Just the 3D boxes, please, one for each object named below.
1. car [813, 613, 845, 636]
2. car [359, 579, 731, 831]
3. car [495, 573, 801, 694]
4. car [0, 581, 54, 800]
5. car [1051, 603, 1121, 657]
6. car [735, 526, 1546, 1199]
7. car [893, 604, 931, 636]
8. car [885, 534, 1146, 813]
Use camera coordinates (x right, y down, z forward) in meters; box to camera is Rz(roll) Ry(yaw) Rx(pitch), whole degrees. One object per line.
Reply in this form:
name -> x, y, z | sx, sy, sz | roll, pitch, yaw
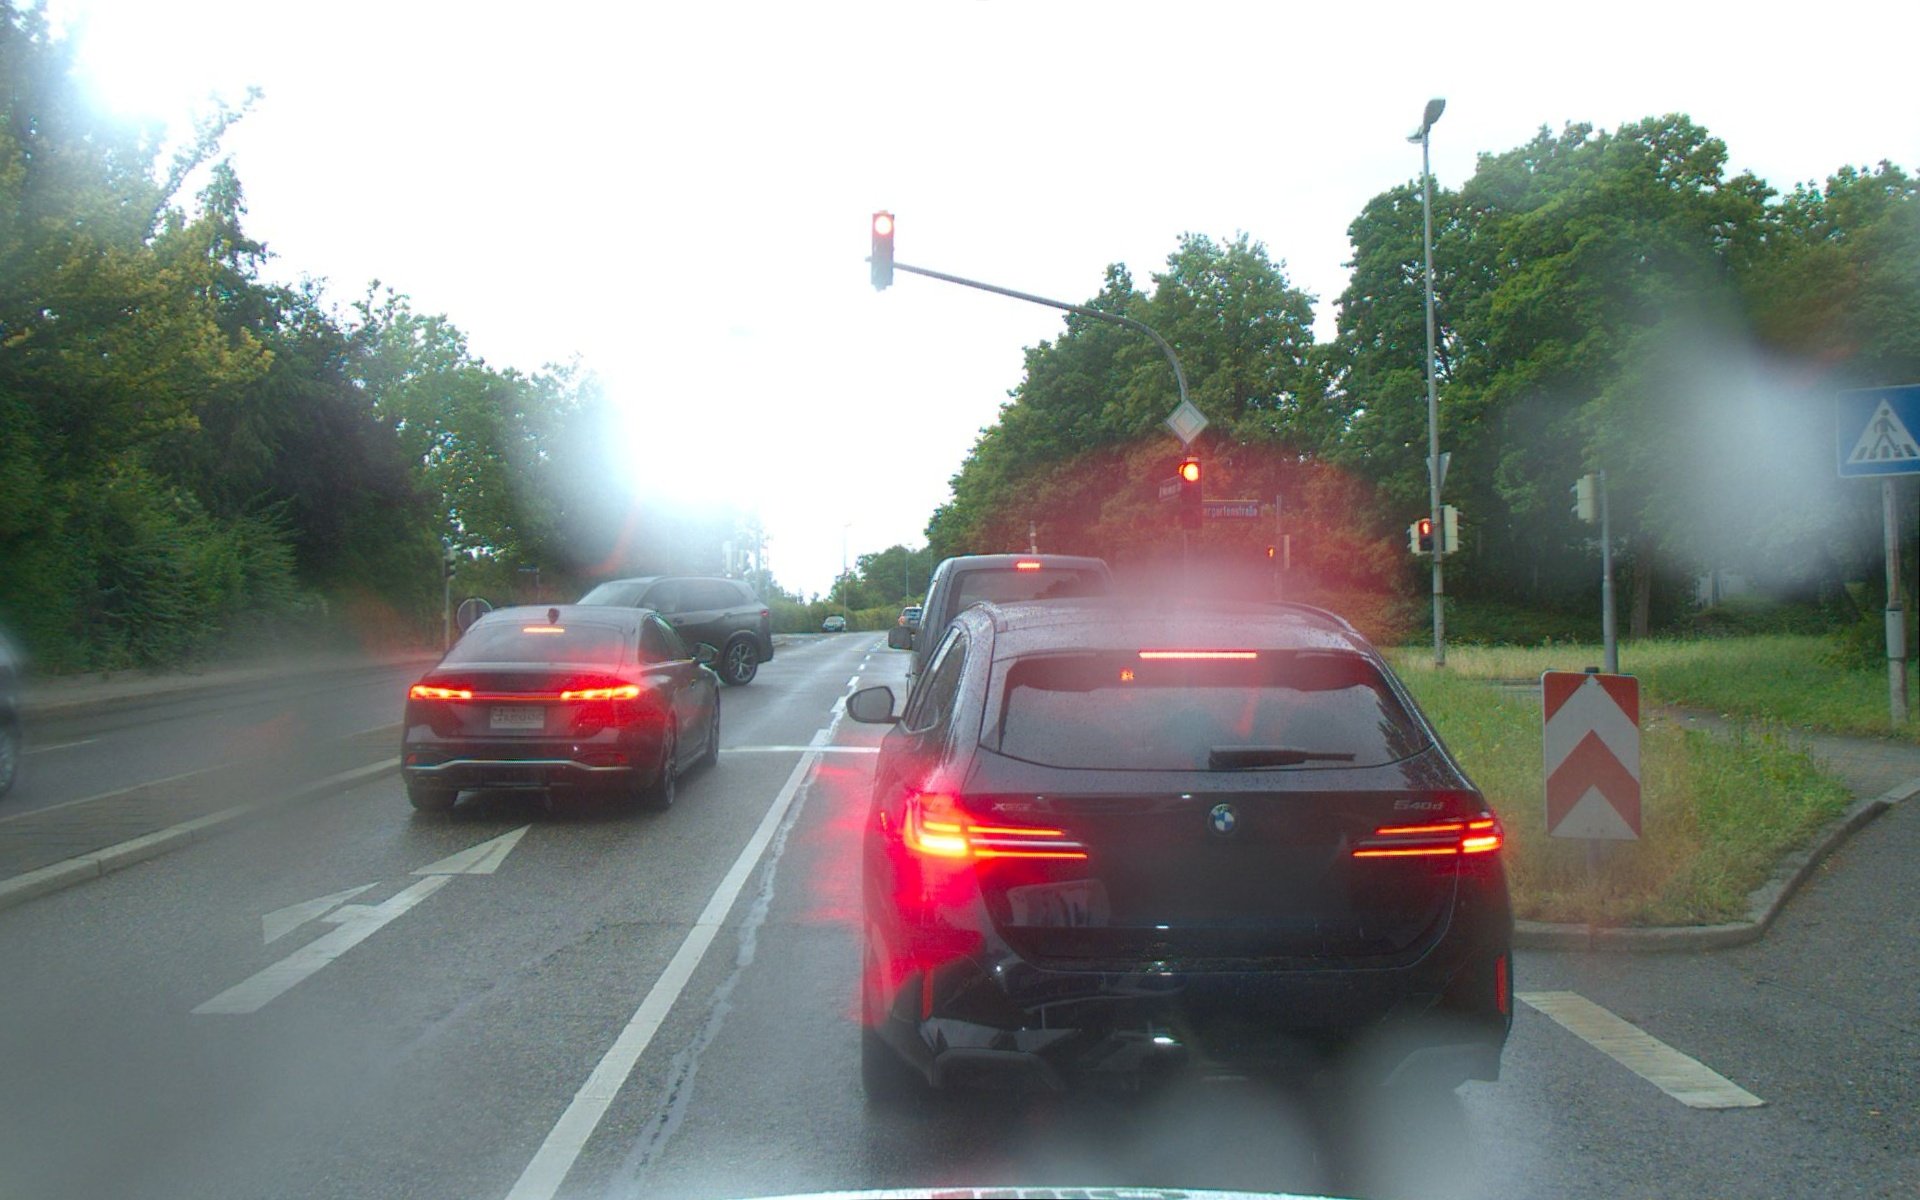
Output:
car -> -11.088, 2.101, 140.593 | 1.951, 1.858, 4.002 | -2, -1, 6
car -> -2.993, 0.696, 12.929 | 1.954, 1.554, 4.325 | -2, 0, -3
car -> -4.927, 0.482, 26.695 | 1.963, 1.747, 4.694 | -2, 0, 39
car -> -7.945, 0.703, 11.000 | 1.708, 1.630, 4.030 | -2, 0, -3
car -> 3.964, 0.924, 52.448 | 1.835, 1.569, 3.952 | -2, 0, 0
car -> 0.522, 0.665, 6.131 | 1.858, 1.578, 4.616 | 1, -1, 3
car -> -2.308, 0.976, 80.151 | 1.663, 1.452, 3.513 | -2, 0, 0
car -> 0.373, 0.518, 13.332 | 1.781, 1.901, 3.952 | 0, 0, 0
